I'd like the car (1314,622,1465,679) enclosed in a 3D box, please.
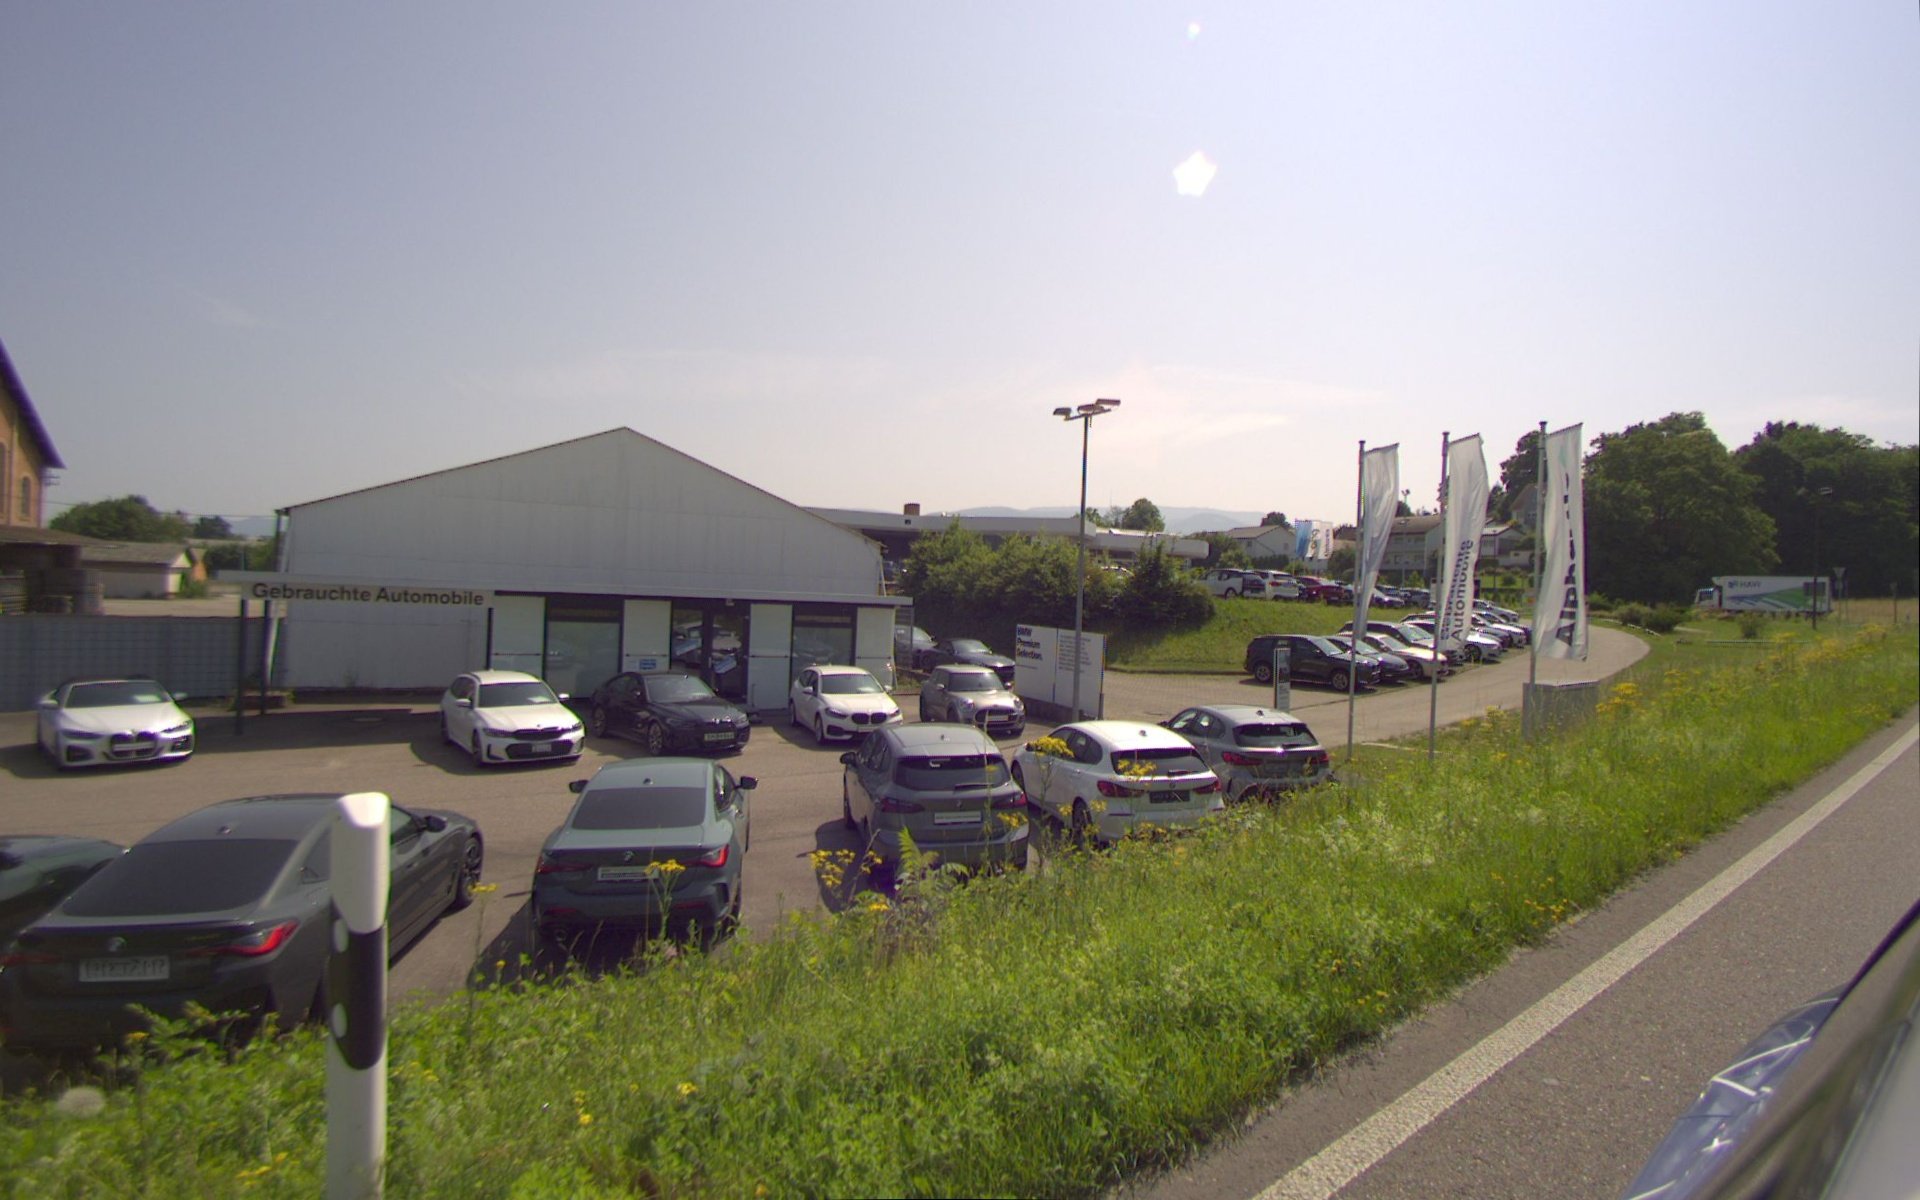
[{"bbox_3d":[15.782,1.790,37.358,4.768,1.526,1.969,4,5,44],"label":"car"}]

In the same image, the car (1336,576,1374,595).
[{"bbox_3d":[34.647,-1.294,88.900,1.876,1.531,4.371,2,1,4],"label":"car"}]

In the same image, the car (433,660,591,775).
[{"bbox_3d":[-8.660,2.120,19.358,1.896,1.542,4.440,0,1,-36],"label":"car"}]

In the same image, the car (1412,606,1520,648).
[{"bbox_3d":[23.473,1.210,47.030,4.235,1.499,1.900,4,5,35],"label":"car"}]

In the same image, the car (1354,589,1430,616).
[{"bbox_3d":[29.189,0.125,68.507,1.910,1.517,4.436,0,4,-28],"label":"car"}]

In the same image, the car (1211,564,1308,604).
[{"bbox_3d":[14.147,-0.775,48.075,1.801,1.769,4.475,1,1,-28],"label":"car"}]

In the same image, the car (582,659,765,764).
[{"bbox_3d":[-5.946,2.162,20.679,1.898,1.542,4.433,0,1,-41],"label":"car"}]

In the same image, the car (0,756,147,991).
[{"bbox_3d":[-8.348,2.299,7.329,1.818,1.542,4.651,0,0,-10],"label":"car"}]

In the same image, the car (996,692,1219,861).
[{"bbox_3d":[1.847,2.265,14.071,1.715,1.542,4.180,0,0,-12],"label":"car"}]

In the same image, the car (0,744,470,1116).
[{"bbox_3d":[-5.486,2.270,8.174,1.818,1.542,4.180,0,0,-12],"label":"car"}]

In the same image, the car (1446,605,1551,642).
[{"bbox_3d":[26.885,1.131,50.629,4.535,1.438,1.766,3,5,30],"label":"car"}]

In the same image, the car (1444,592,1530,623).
[{"bbox_3d":[32.108,0.448,61.748,4.538,1.590,1.751,3,3,29],"label":"car"}]

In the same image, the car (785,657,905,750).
[{"bbox_3d":[-2.626,2.185,22.361,1.714,1.542,3.979,0,1,-20],"label":"car"}]

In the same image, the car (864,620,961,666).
[{"bbox_3d":[-1.871,1.571,38.317,1.943,1.489,4.464,0,0,-29],"label":"car"}]

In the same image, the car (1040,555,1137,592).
[{"bbox_3d":[6.202,-1.277,48.734,4.215,1.616,1.926,1,1,-26],"label":"car"}]

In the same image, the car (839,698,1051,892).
[{"bbox_3d":[-0.378,2.247,12.764,1.817,1.542,4.180,0,0,-13],"label":"car"}]

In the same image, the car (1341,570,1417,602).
[{"bbox_3d":[26.154,-0.873,63.284,1.910,1.771,4.016,2,2,-28],"label":"car"}]

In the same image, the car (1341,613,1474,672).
[{"bbox_3d":[17.310,1.578,39.264,4.249,1.769,1.969,4,5,44],"label":"car"}]

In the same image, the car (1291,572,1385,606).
[{"bbox_3d":[19.939,-0.626,53.549,1.910,1.655,4.475,1,1,-28],"label":"car"}]

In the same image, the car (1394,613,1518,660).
[{"bbox_3d":[20.820,1.473,42.572,4.409,1.482,1.899,4,5,36],"label":"car"}]

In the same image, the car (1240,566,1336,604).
[{"bbox_3d":[16.105,-0.761,49.944,1.801,1.769,4.475,1,1,-28],"label":"car"}]

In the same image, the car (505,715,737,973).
[{"bbox_3d":[-3.227,2.223,10.401,1.818,1.542,4.180,0,0,-12],"label":"car"}]

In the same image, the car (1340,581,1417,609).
[{"bbox_3d":[24.794,-0.320,60.132,1.908,1.545,4.018,2,1,-22],"label":"car"}]

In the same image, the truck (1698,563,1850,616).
[{"bbox_3d":[62.814,-0.781,78.305,8.986,3.877,2.857,0,0,41],"label":"truck"}]

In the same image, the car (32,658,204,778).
[{"bbox_3d":[-15.405,2.008,18.432,4.604,1.542,1.902,2,2,44],"label":"car"}]

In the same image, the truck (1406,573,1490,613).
[{"bbox_3d":[35.726,-0.541,74.234,1.909,2.698,5.640,2,1,-22],"label":"truck"}]

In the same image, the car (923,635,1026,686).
[{"bbox_3d":[0.403,1.946,33.320,1.684,1.393,3.956,0,0,-29],"label":"car"}]

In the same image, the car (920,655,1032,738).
[{"bbox_3d":[0.292,2.190,23.902,1.715,1.542,3.811,0,0,-14],"label":"car"}]

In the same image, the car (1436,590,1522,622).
[{"bbox_3d":[32.786,0.353,64.077,4.615,1.589,1.755,5,2,23],"label":"car"}]

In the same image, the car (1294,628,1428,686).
[{"bbox_3d":[14.071,1.954,35.571,3.982,1.570,1.972,3,4,40],"label":"car"}]

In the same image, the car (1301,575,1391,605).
[{"bbox_3d":[21.291,-0.575,56.004,1.910,1.518,4.475,2,1,-28],"label":"car"}]

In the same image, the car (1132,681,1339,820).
[{"bbox_3d":[4.186,2.249,16.125,1.656,1.542,4.178,0,0,-8],"label":"car"}]

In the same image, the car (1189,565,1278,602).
[{"bbox_3d":[12.417,-0.767,46.178,1.732,1.551,3.894,1,1,-28],"label":"car"}]

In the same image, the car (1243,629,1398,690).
[{"bbox_3d":[12.089,1.938,34.064,4.474,1.660,2.118,1,2,40],"label":"car"}]

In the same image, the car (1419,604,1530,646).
[{"bbox_3d":[24.793,1.161,48.835,4.544,1.584,1.900,4,5,35],"label":"car"}]

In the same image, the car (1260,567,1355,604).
[{"bbox_3d":[17.697,-0.761,51.743,1.910,1.769,4.475,1,1,-28],"label":"car"}]

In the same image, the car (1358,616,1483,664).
[{"bbox_3d":[18.644,1.580,41.107,4.249,1.483,1.845,4,5,44],"label":"car"}]
